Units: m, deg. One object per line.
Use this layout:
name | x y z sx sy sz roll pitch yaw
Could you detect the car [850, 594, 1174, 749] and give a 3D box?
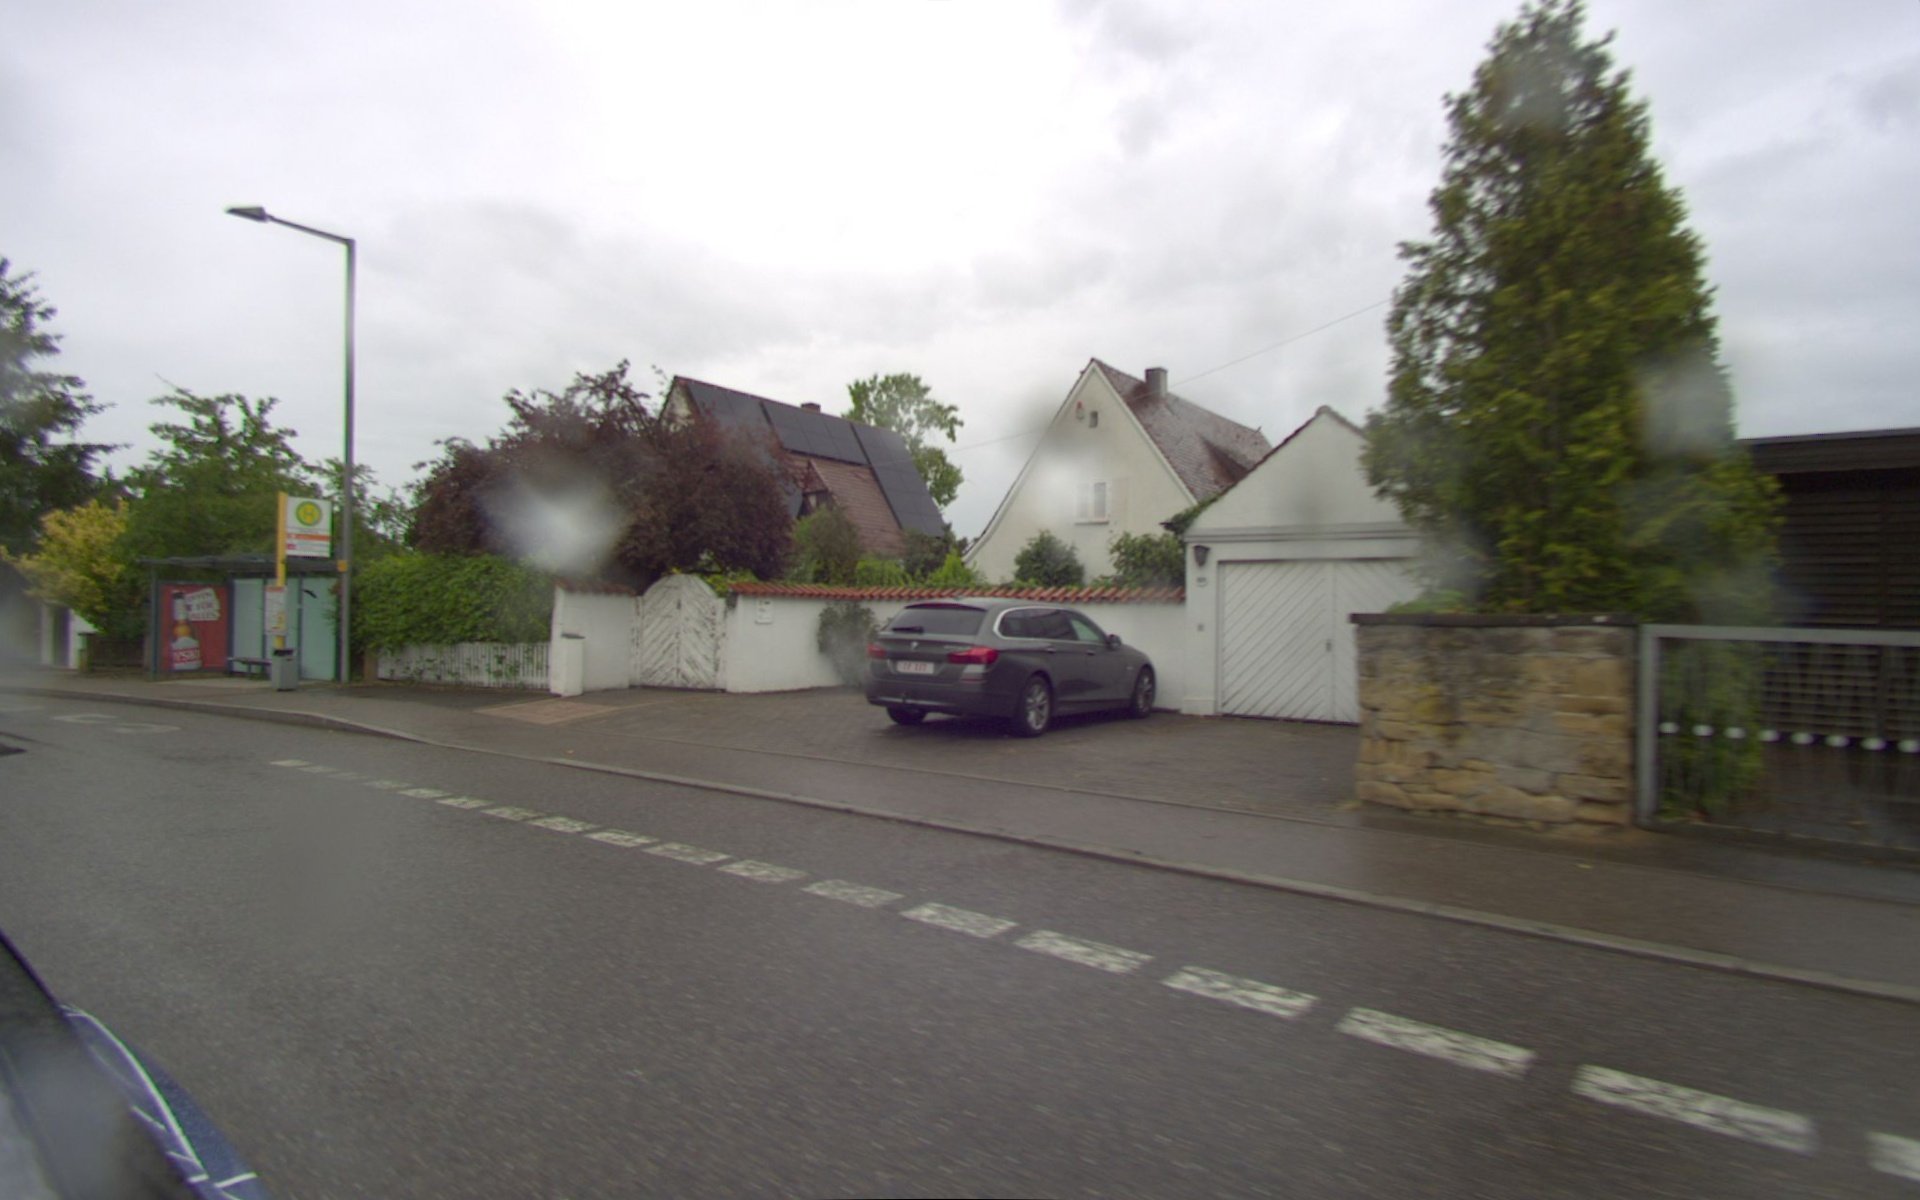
car | 0.839 0.732 12.085 1.834 1.487 4.503 -1 -2 34
